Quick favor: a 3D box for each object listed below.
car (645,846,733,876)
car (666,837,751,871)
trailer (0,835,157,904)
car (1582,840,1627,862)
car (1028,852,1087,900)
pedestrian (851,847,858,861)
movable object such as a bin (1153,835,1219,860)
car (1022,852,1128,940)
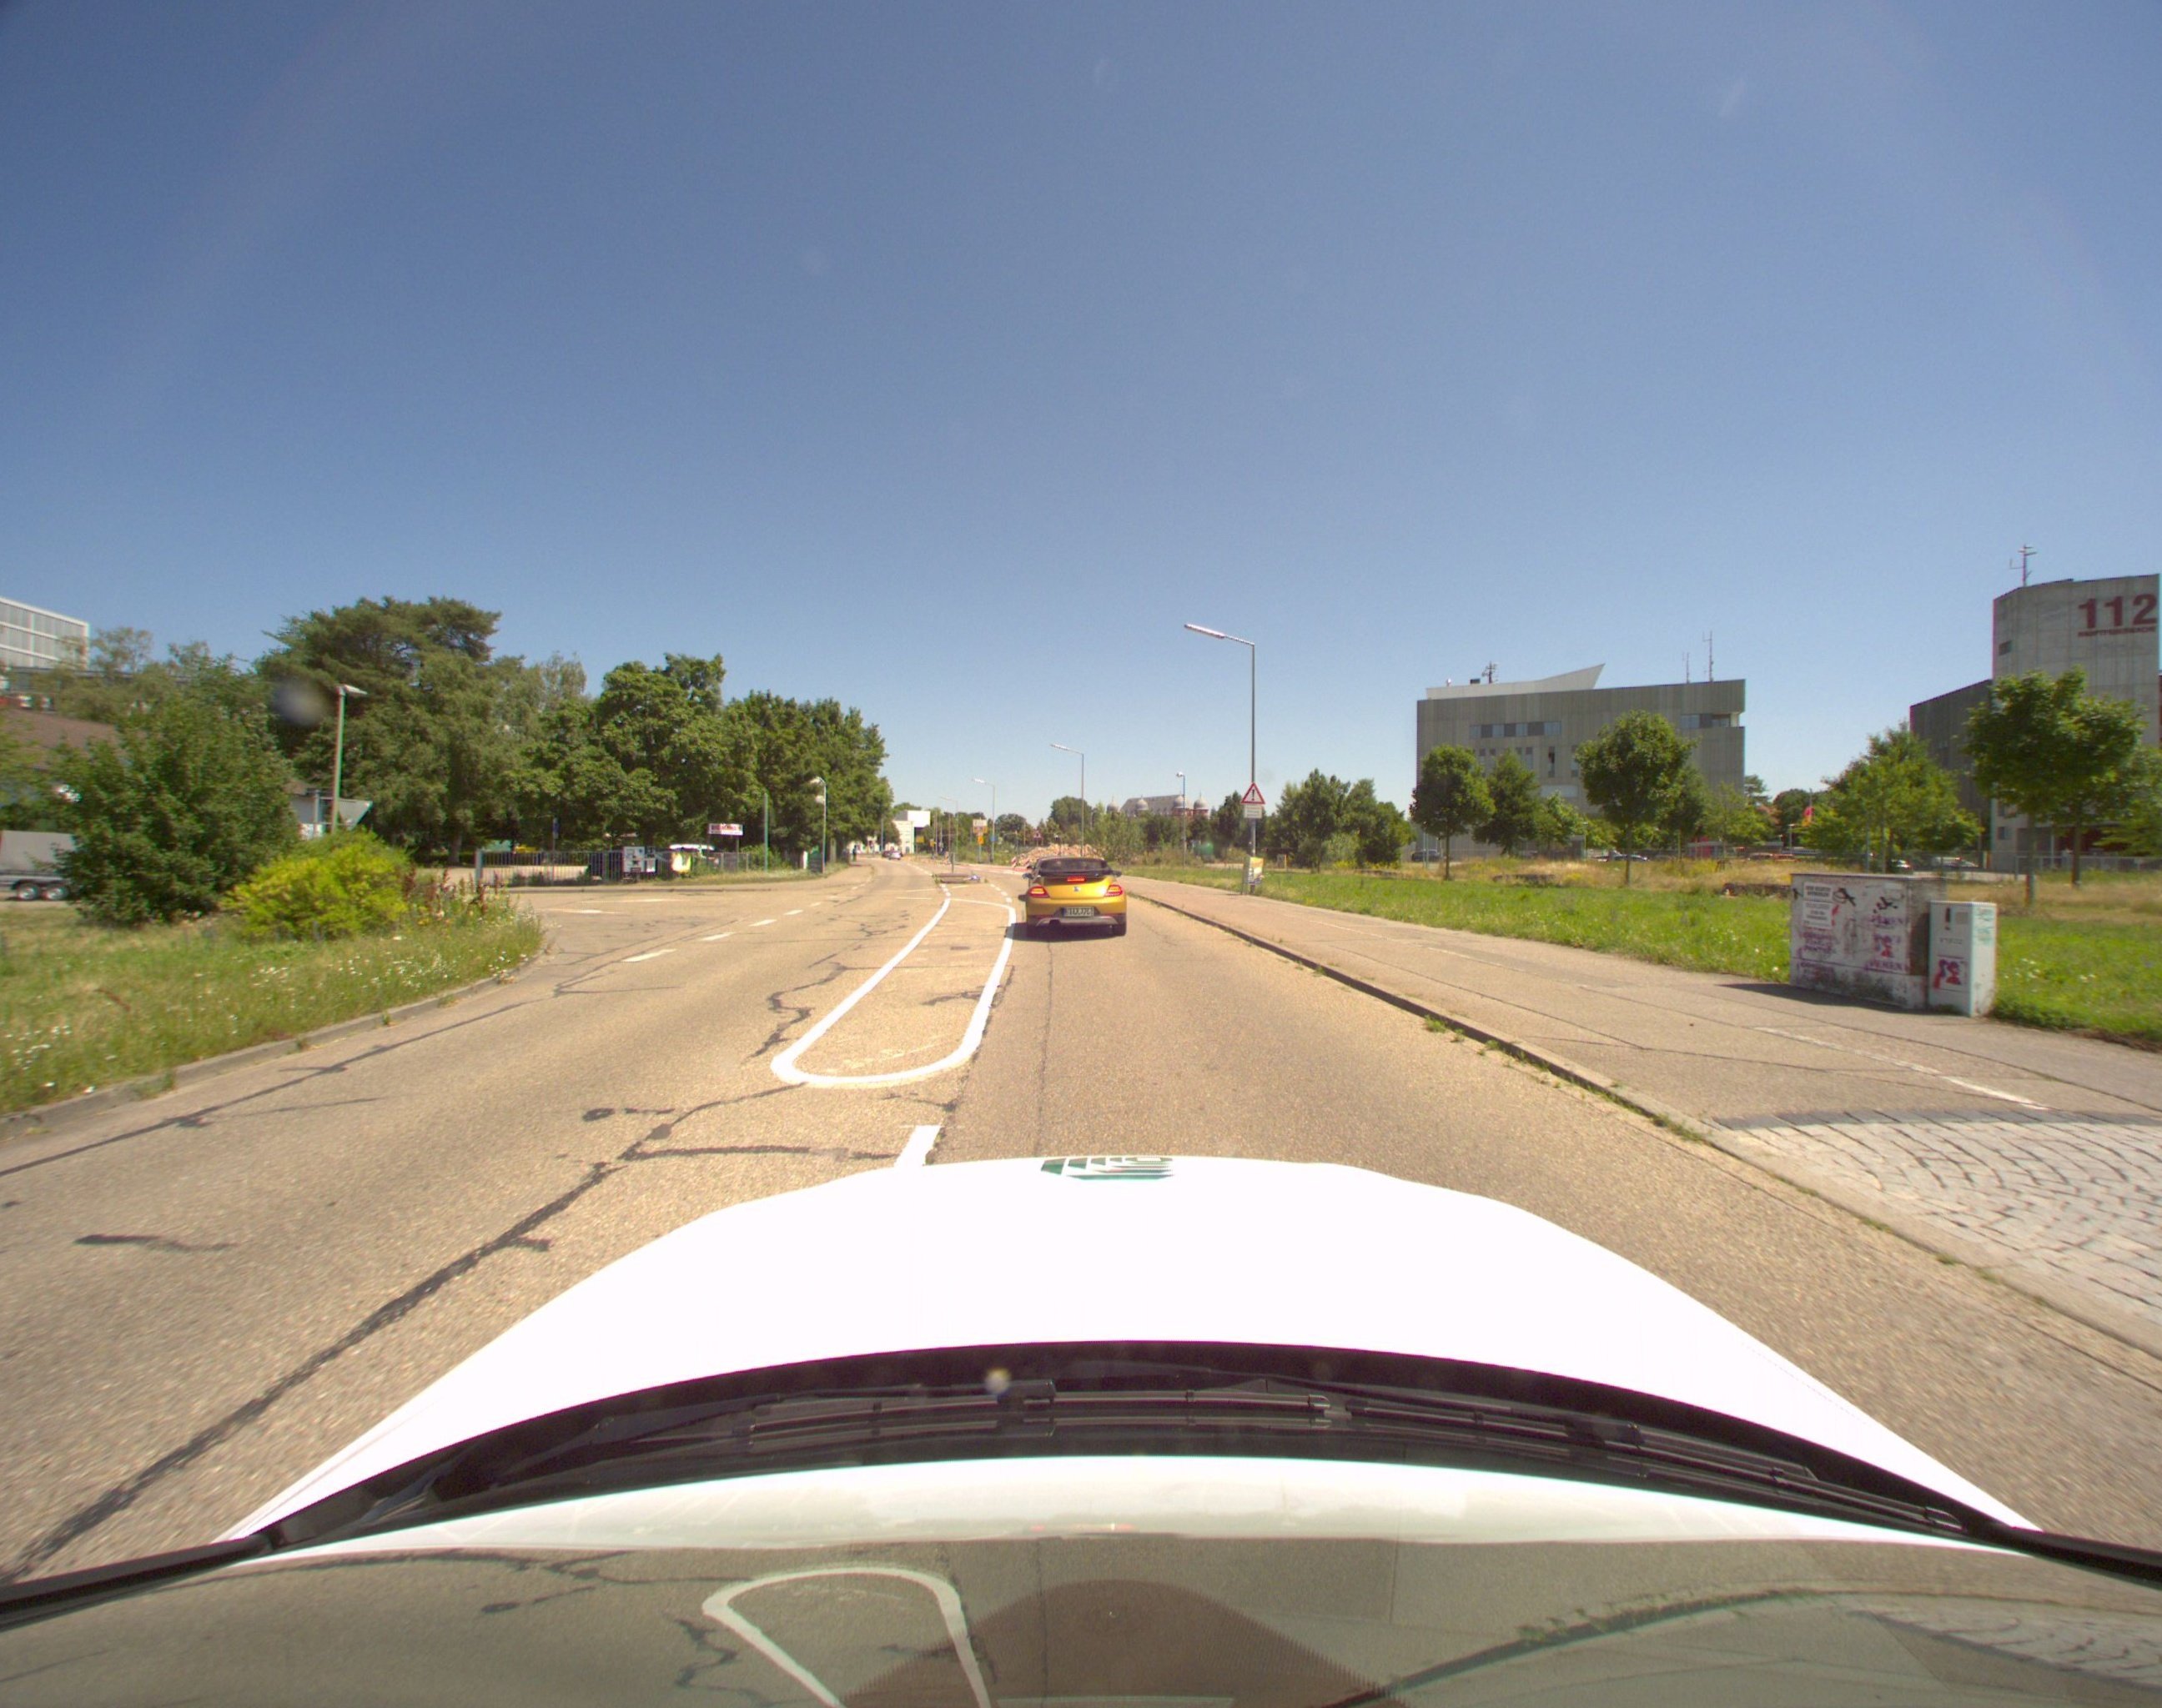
[{"bbox_3d":[-20.549,0.346,42.870,3.866,1.525,1.802,0,0,-13],"label":"car"},{"bbox_3d":[-22.353,0.002,49.013,4.306,1.977,1.776,0,0,-11],"label":"car"},{"bbox_3d":[-31.546,0.470,25.236,3.419,2.045,1.752,0,0,-15],"label":"trailer"},{"bbox_3d":[54.400,-0.341,84.692,3.807,2.294,1.753,0,0,26],"label":"car"},{"bbox_3d":[-0.839,0.677,26.791,1.724,1.443,3.993,0,0,-5],"label":"car"},{"bbox_3d":[-27.485,-0.034,98.766,0.725,1.725,0.812,0,0,-20],"label":"pedestrian"},{"bbox_3d":[14.129,-0.906,110.905,4.952,3.260,10.407,0,0,-18],"label":"movable object such as a bin"},{"bbox_3d":[-0.032,0.704,15.650,1.783,1.436,3.816,0,1,2],"label":"car"}]
